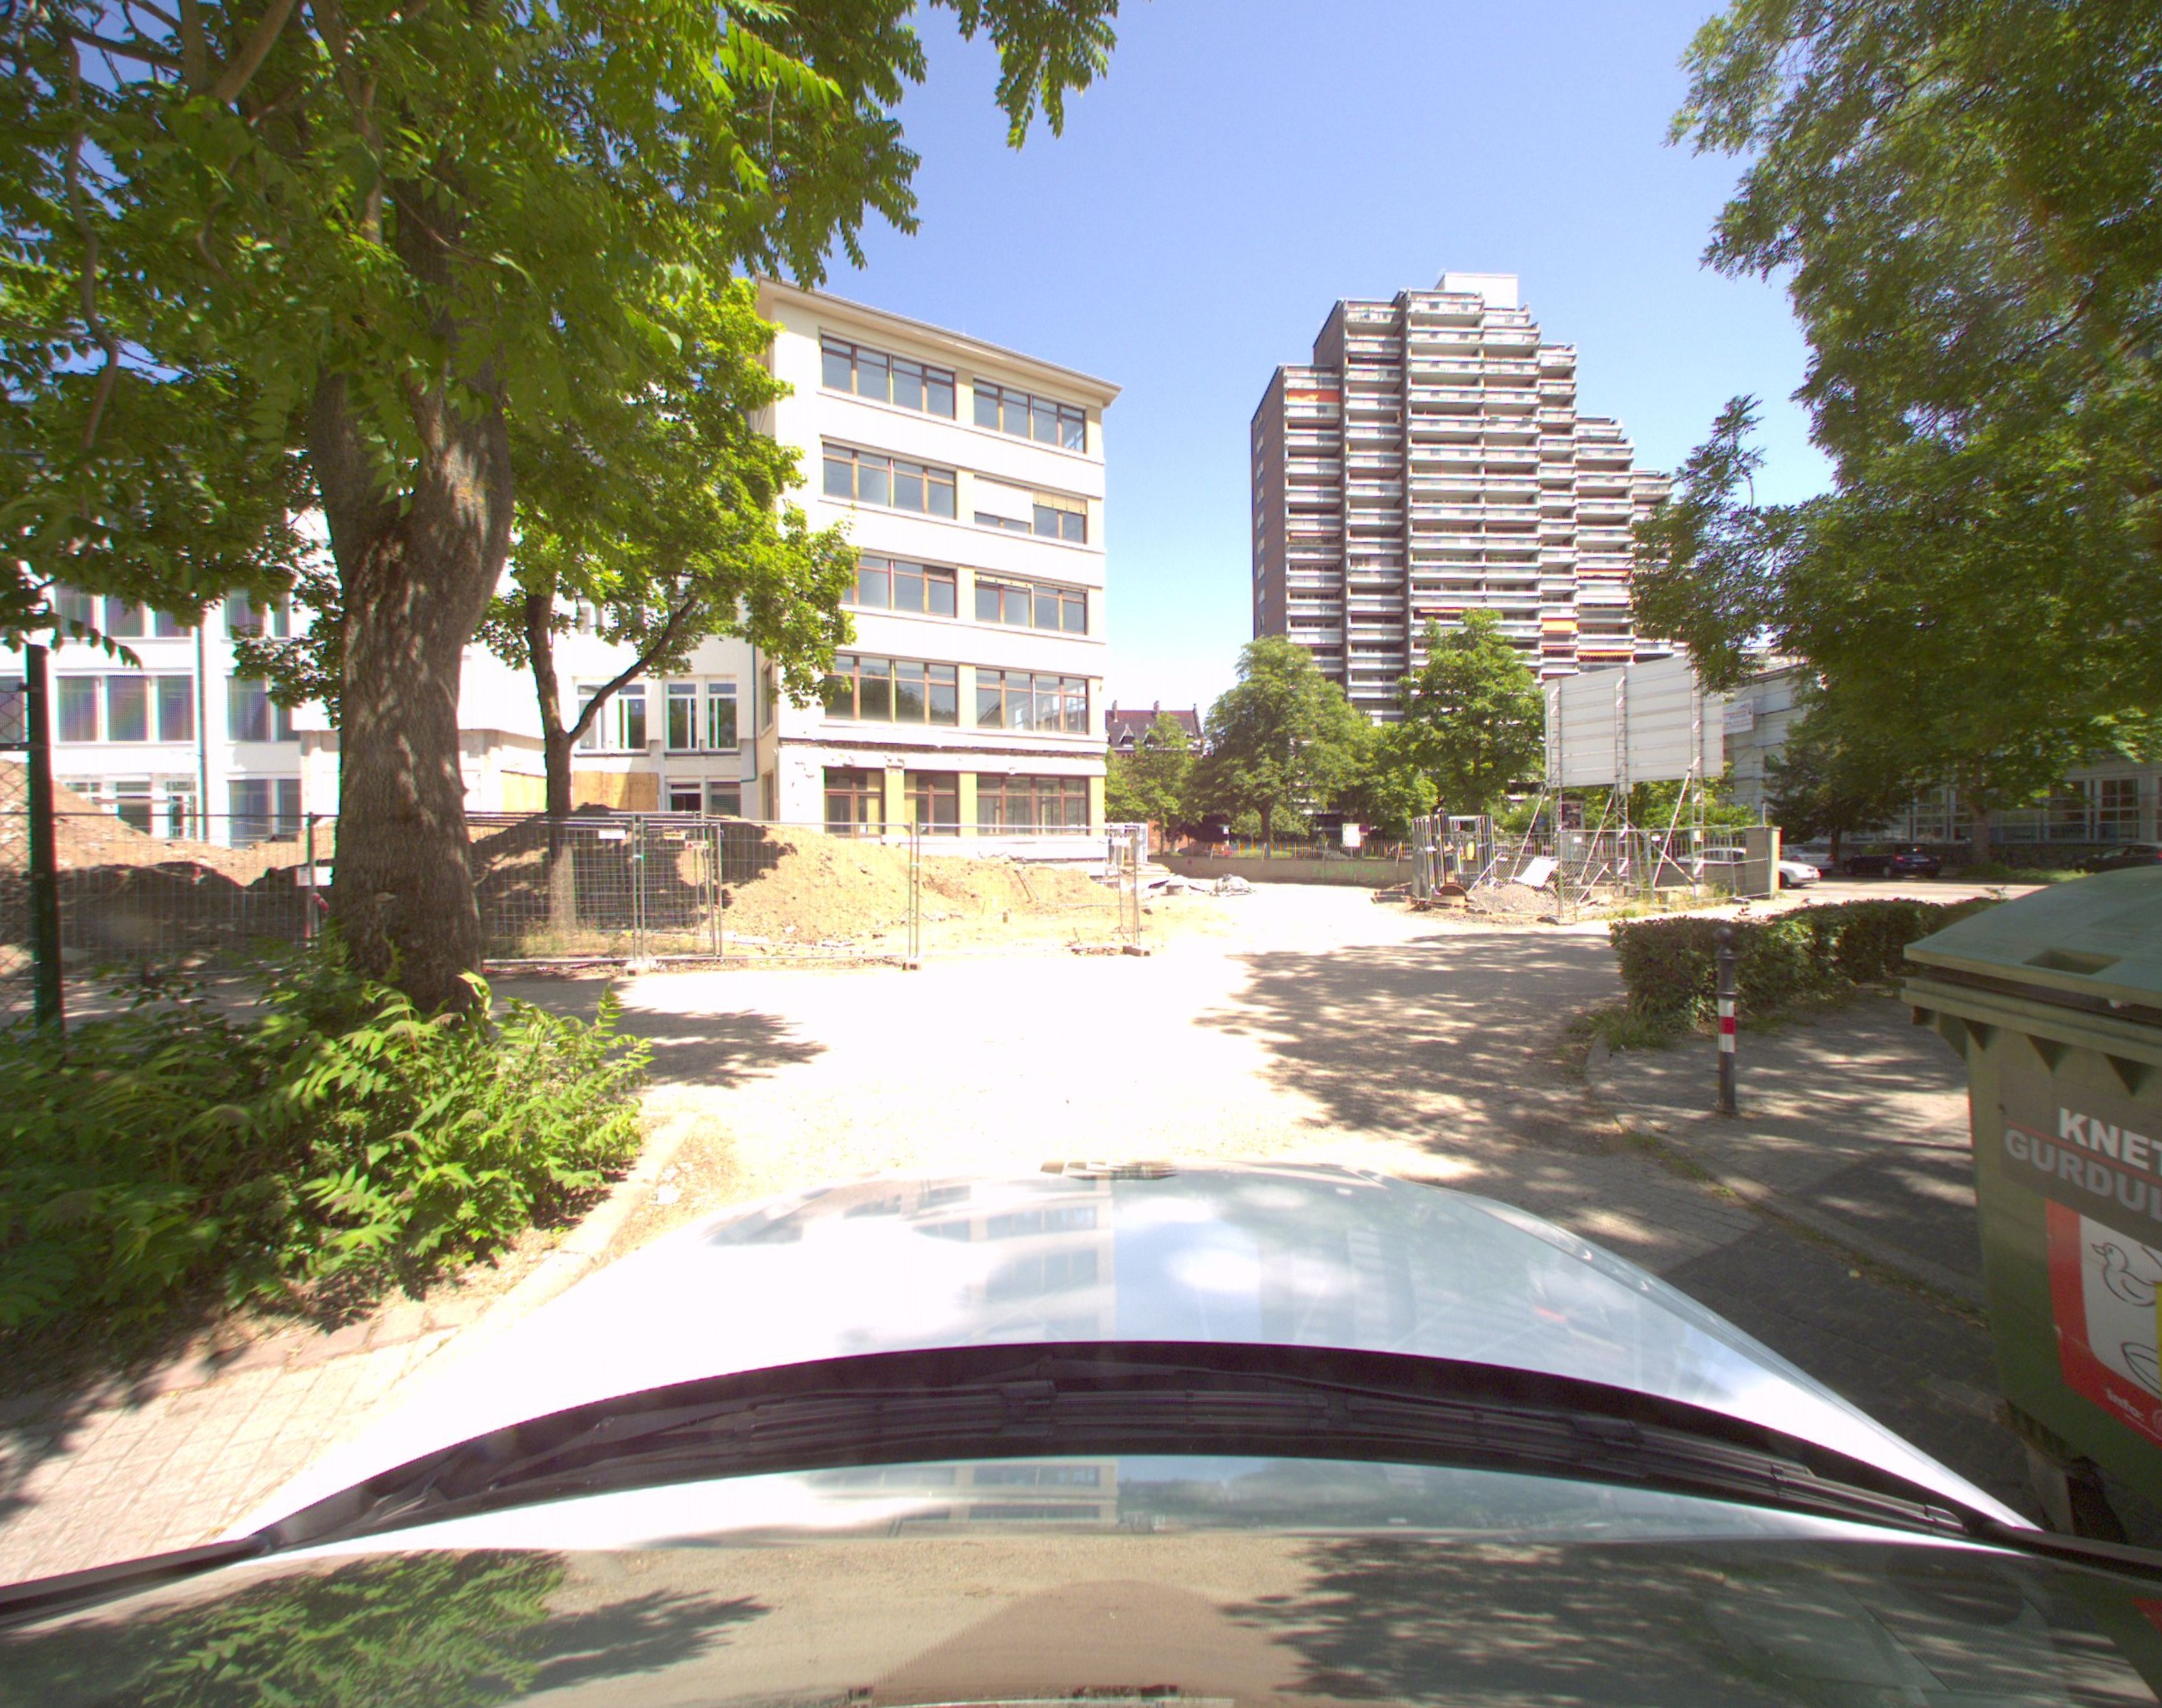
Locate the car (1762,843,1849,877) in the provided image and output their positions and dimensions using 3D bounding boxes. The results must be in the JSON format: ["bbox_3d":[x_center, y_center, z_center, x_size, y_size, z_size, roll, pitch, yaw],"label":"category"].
[{"bbox_3d":[32.882,0.252,37.089,1.620,1.463,3.695,-1,0,18],"label":"car"}]

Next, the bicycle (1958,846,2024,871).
[{"bbox_3d":[42.093,0.205,37.670,2.373,1.157,0.781,-1,0,-6],"label":"bicycle"}]

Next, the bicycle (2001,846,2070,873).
[{"bbox_3d":[42.166,0.219,35.975,2.373,1.157,0.781,-1,0,-6],"label":"bicycle"}]

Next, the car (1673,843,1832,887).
[{"bbox_3d":[24.291,0.358,29.604,1.770,1.464,4.106,-1,0,-29],"label":"car"}]

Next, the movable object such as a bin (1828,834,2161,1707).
[{"bbox_3d":[2.389,0.699,1.338,1.171,1.470,1.337,0,-1,10],"label":"movable object such as a bin"}]

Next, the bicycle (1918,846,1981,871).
[{"bbox_3d":[41.930,0.203,39.323,2.373,1.157,0.781,-1,0,-6],"label":"bicycle"}]

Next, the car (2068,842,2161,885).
[{"bbox_3d":[37.694,0.315,28.795,1.628,1.463,3.691,-1,0,13],"label":"car"}]

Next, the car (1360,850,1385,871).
[{"bbox_3d":[20.588,0.431,57.644,1.620,1.387,3.696,-1,0,19],"label":"car"}]

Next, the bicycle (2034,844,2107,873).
[{"bbox_3d":[42.305,0.188,34.825,2.421,1.188,0.781,-1,0,-6],"label":"bicycle"}]

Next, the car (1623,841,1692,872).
[{"bbox_3d":[29.256,0.111,41.432,1.621,1.463,3.691,-1,0,13],"label":"car"}]

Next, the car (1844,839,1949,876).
[{"bbox_3d":[34.361,0.153,34.434,1.620,1.463,3.695,-1,0,18],"label":"car"}]

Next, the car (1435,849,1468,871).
[{"bbox_3d":[24.050,0.359,52.959,1.620,1.387,3.696,-1,0,19],"label":"car"}]

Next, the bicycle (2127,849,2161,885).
[{"bbox_3d":[35.385,0.428,25.980,0.789,1.152,2.415,-1,0,-33],"label":"bicycle"}]

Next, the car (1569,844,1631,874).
[{"bbox_3d":[26.901,0.242,42.347,1.621,1.463,3.691,-1,0,13],"label":"car"}]

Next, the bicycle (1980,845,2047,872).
[{"bbox_3d":[42.176,0.197,36.852,2.373,1.157,0.781,-1,0,-6],"label":"bicycle"}]

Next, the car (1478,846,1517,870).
[{"bbox_3d":[25.446,0.233,49.885,1.620,1.387,3.696,-1,0,19],"label":"car"}]
